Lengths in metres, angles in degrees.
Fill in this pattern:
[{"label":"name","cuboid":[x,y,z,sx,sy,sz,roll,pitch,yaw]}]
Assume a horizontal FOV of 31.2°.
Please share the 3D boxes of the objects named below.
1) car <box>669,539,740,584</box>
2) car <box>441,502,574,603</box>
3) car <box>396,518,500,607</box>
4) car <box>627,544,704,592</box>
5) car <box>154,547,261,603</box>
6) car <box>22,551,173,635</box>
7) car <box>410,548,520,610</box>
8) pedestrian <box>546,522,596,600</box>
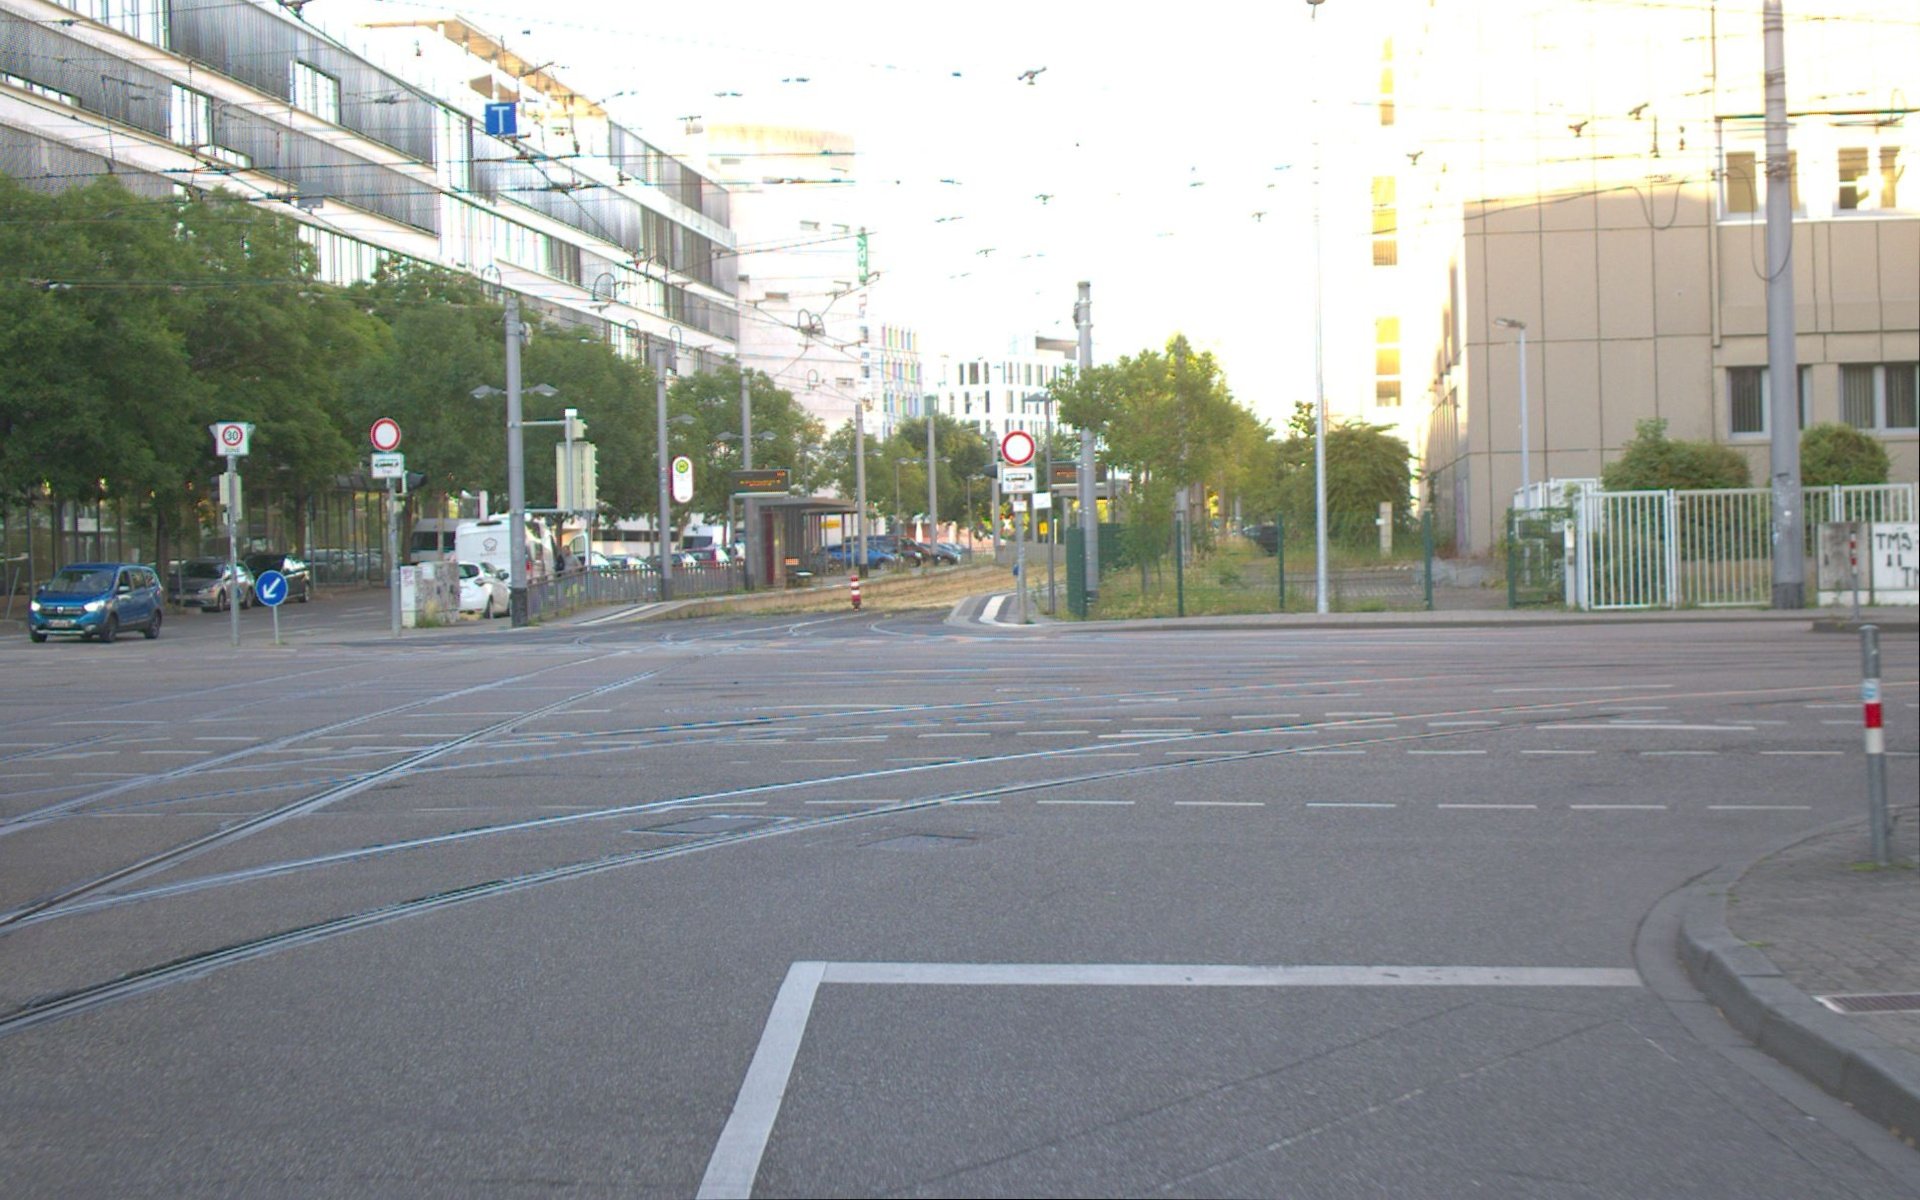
[{"label":"car","cuboid":[-8.677,-1.324,117.090,1.683,1.434,4.125,-1,1,6]},{"label":"car","cuboid":[-11.706,-1.255,89.443,2.461,2.474,5.808,-1,1,2]},{"label":"car","cuboid":[-18.735,-1.403,126.112,2.202,3.141,6.141,-1,1,6]},{"label":"car","cuboid":[-9.295,-1.019,108.740,1.683,1.434,4.125,-1,1,6]},{"label":"car","cuboid":[-21.468,-0.722,98.249,1.683,1.496,4.238,-1,1,6]},{"label":"car","cuboid":[-18.470,-0.178,73.801,1.683,1.694,4.238,-1,1,7]},{"label":"car","cuboid":[-12.031,-0.528,83.783,1.683,1.434,4.125,-1,1,6]},{"label":"pedestrian","cuboid":[-10.225,-1.026,90.410,1.039,2.023,0.984,-2,1,-22]}]
